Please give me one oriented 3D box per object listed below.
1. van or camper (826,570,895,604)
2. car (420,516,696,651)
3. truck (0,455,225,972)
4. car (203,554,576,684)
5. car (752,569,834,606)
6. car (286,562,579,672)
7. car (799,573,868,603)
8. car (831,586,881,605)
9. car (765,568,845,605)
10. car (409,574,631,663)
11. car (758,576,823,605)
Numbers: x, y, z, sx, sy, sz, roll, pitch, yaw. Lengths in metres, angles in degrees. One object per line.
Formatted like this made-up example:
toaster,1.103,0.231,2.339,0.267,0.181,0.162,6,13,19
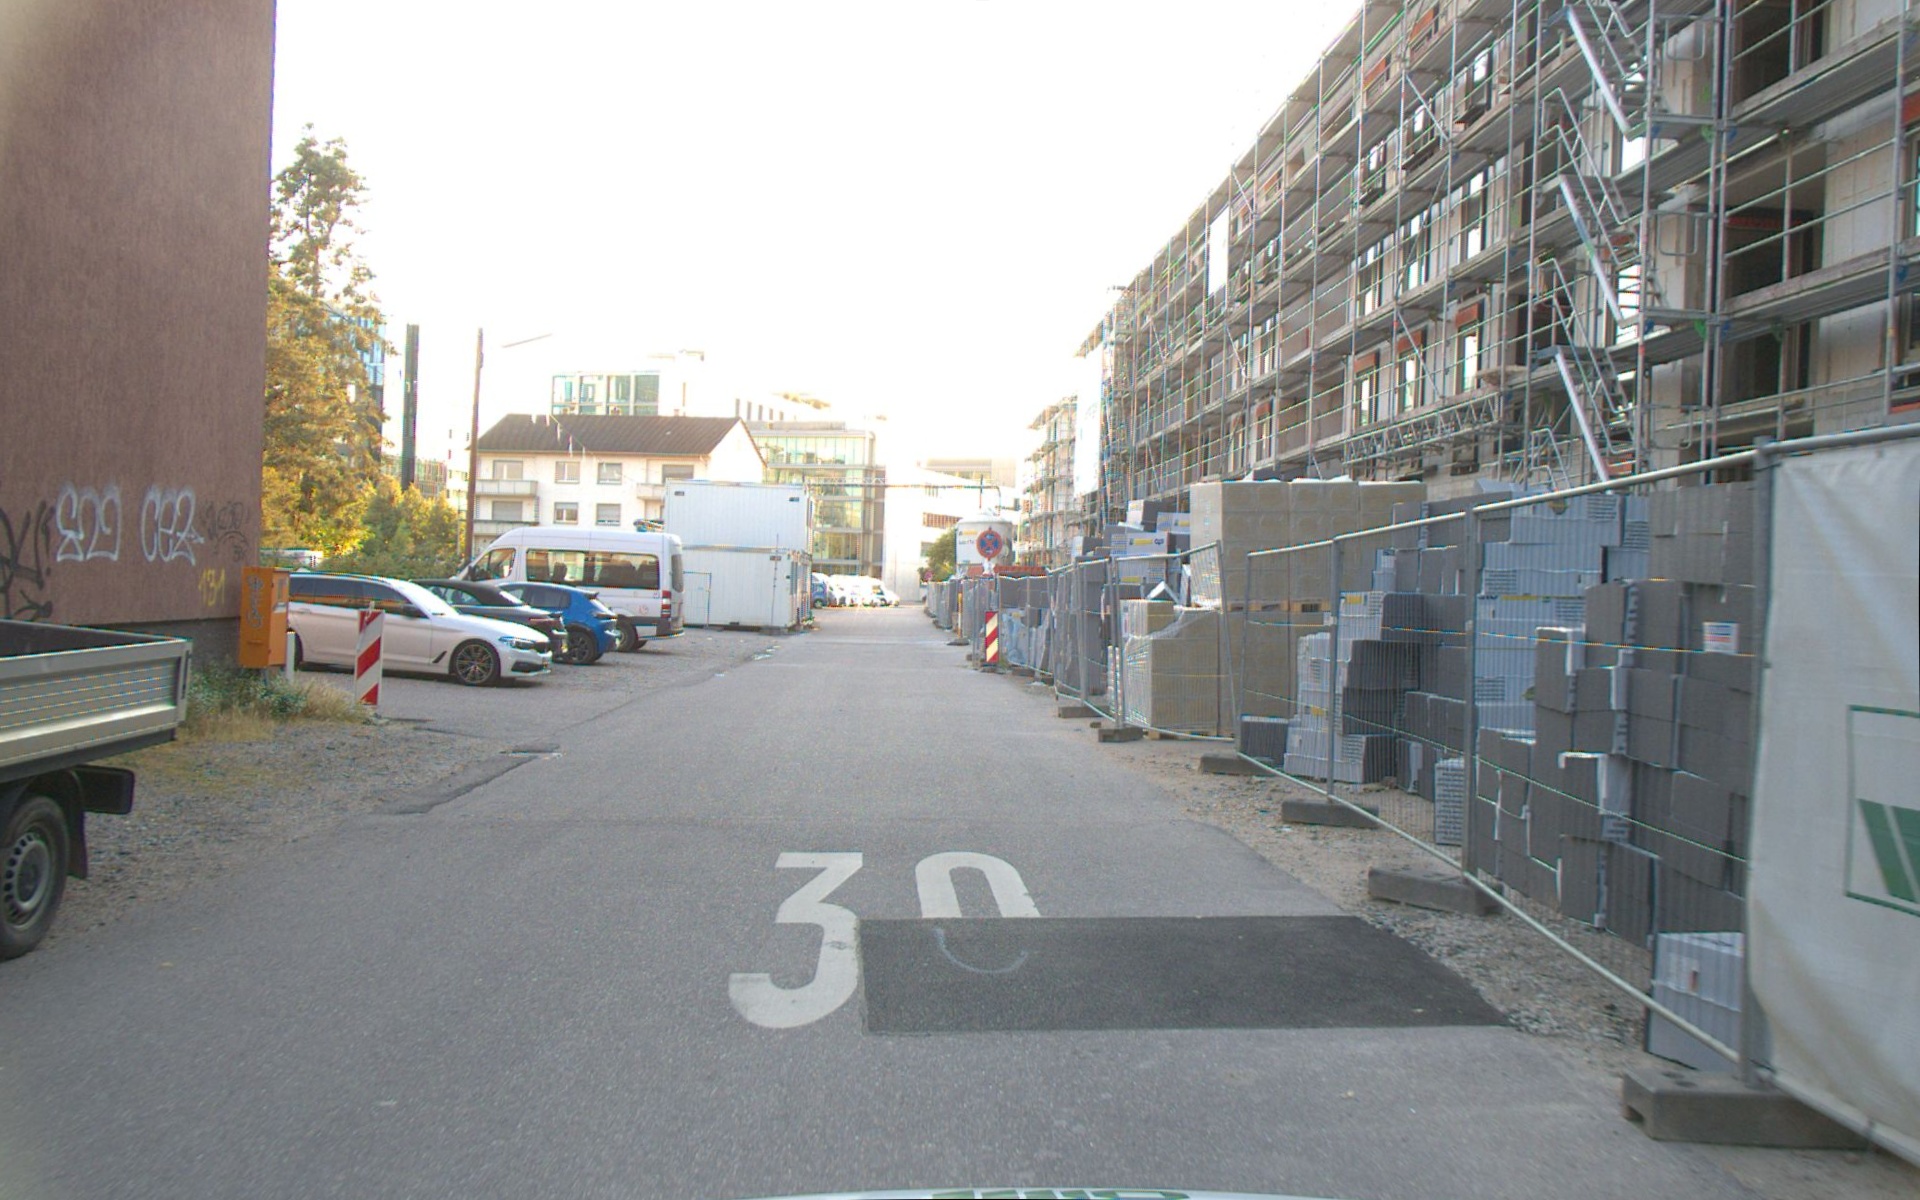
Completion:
van or camper,-9.728,-1.233,161.970,6.198,3.030,2.294,2,0,10
car,-8.971,-0.369,37.310,5.574,2.672,2.221,3,0,-1
truck,-4.543,0.384,5.276,1.994,1.946,5.658,3,0,-3
car,-8.618,0.275,25.338,4.893,1.571,2.115,4,0,-1
car,-12.990,-0.989,128.933,6.201,2.697,1.999,1,0,-2
car,-8.725,0.276,27.676,4.331,1.571,1.725,3,0,-6
car,-11.289,-1.081,148.157,5.797,2.533,2.002,2,0,9
car,-9.797,-0.401,156.284,4.408,1.676,2.002,2,0,6
car,-12.425,-1.065,132.713,6.201,2.789,1.999,1,0,-2
car,-8.306,0.337,31.463,3.762,1.454,1.726,3,0,-5
car,-11.792,-0.690,114.914,4.419,1.901,1.997,1,0,-8
